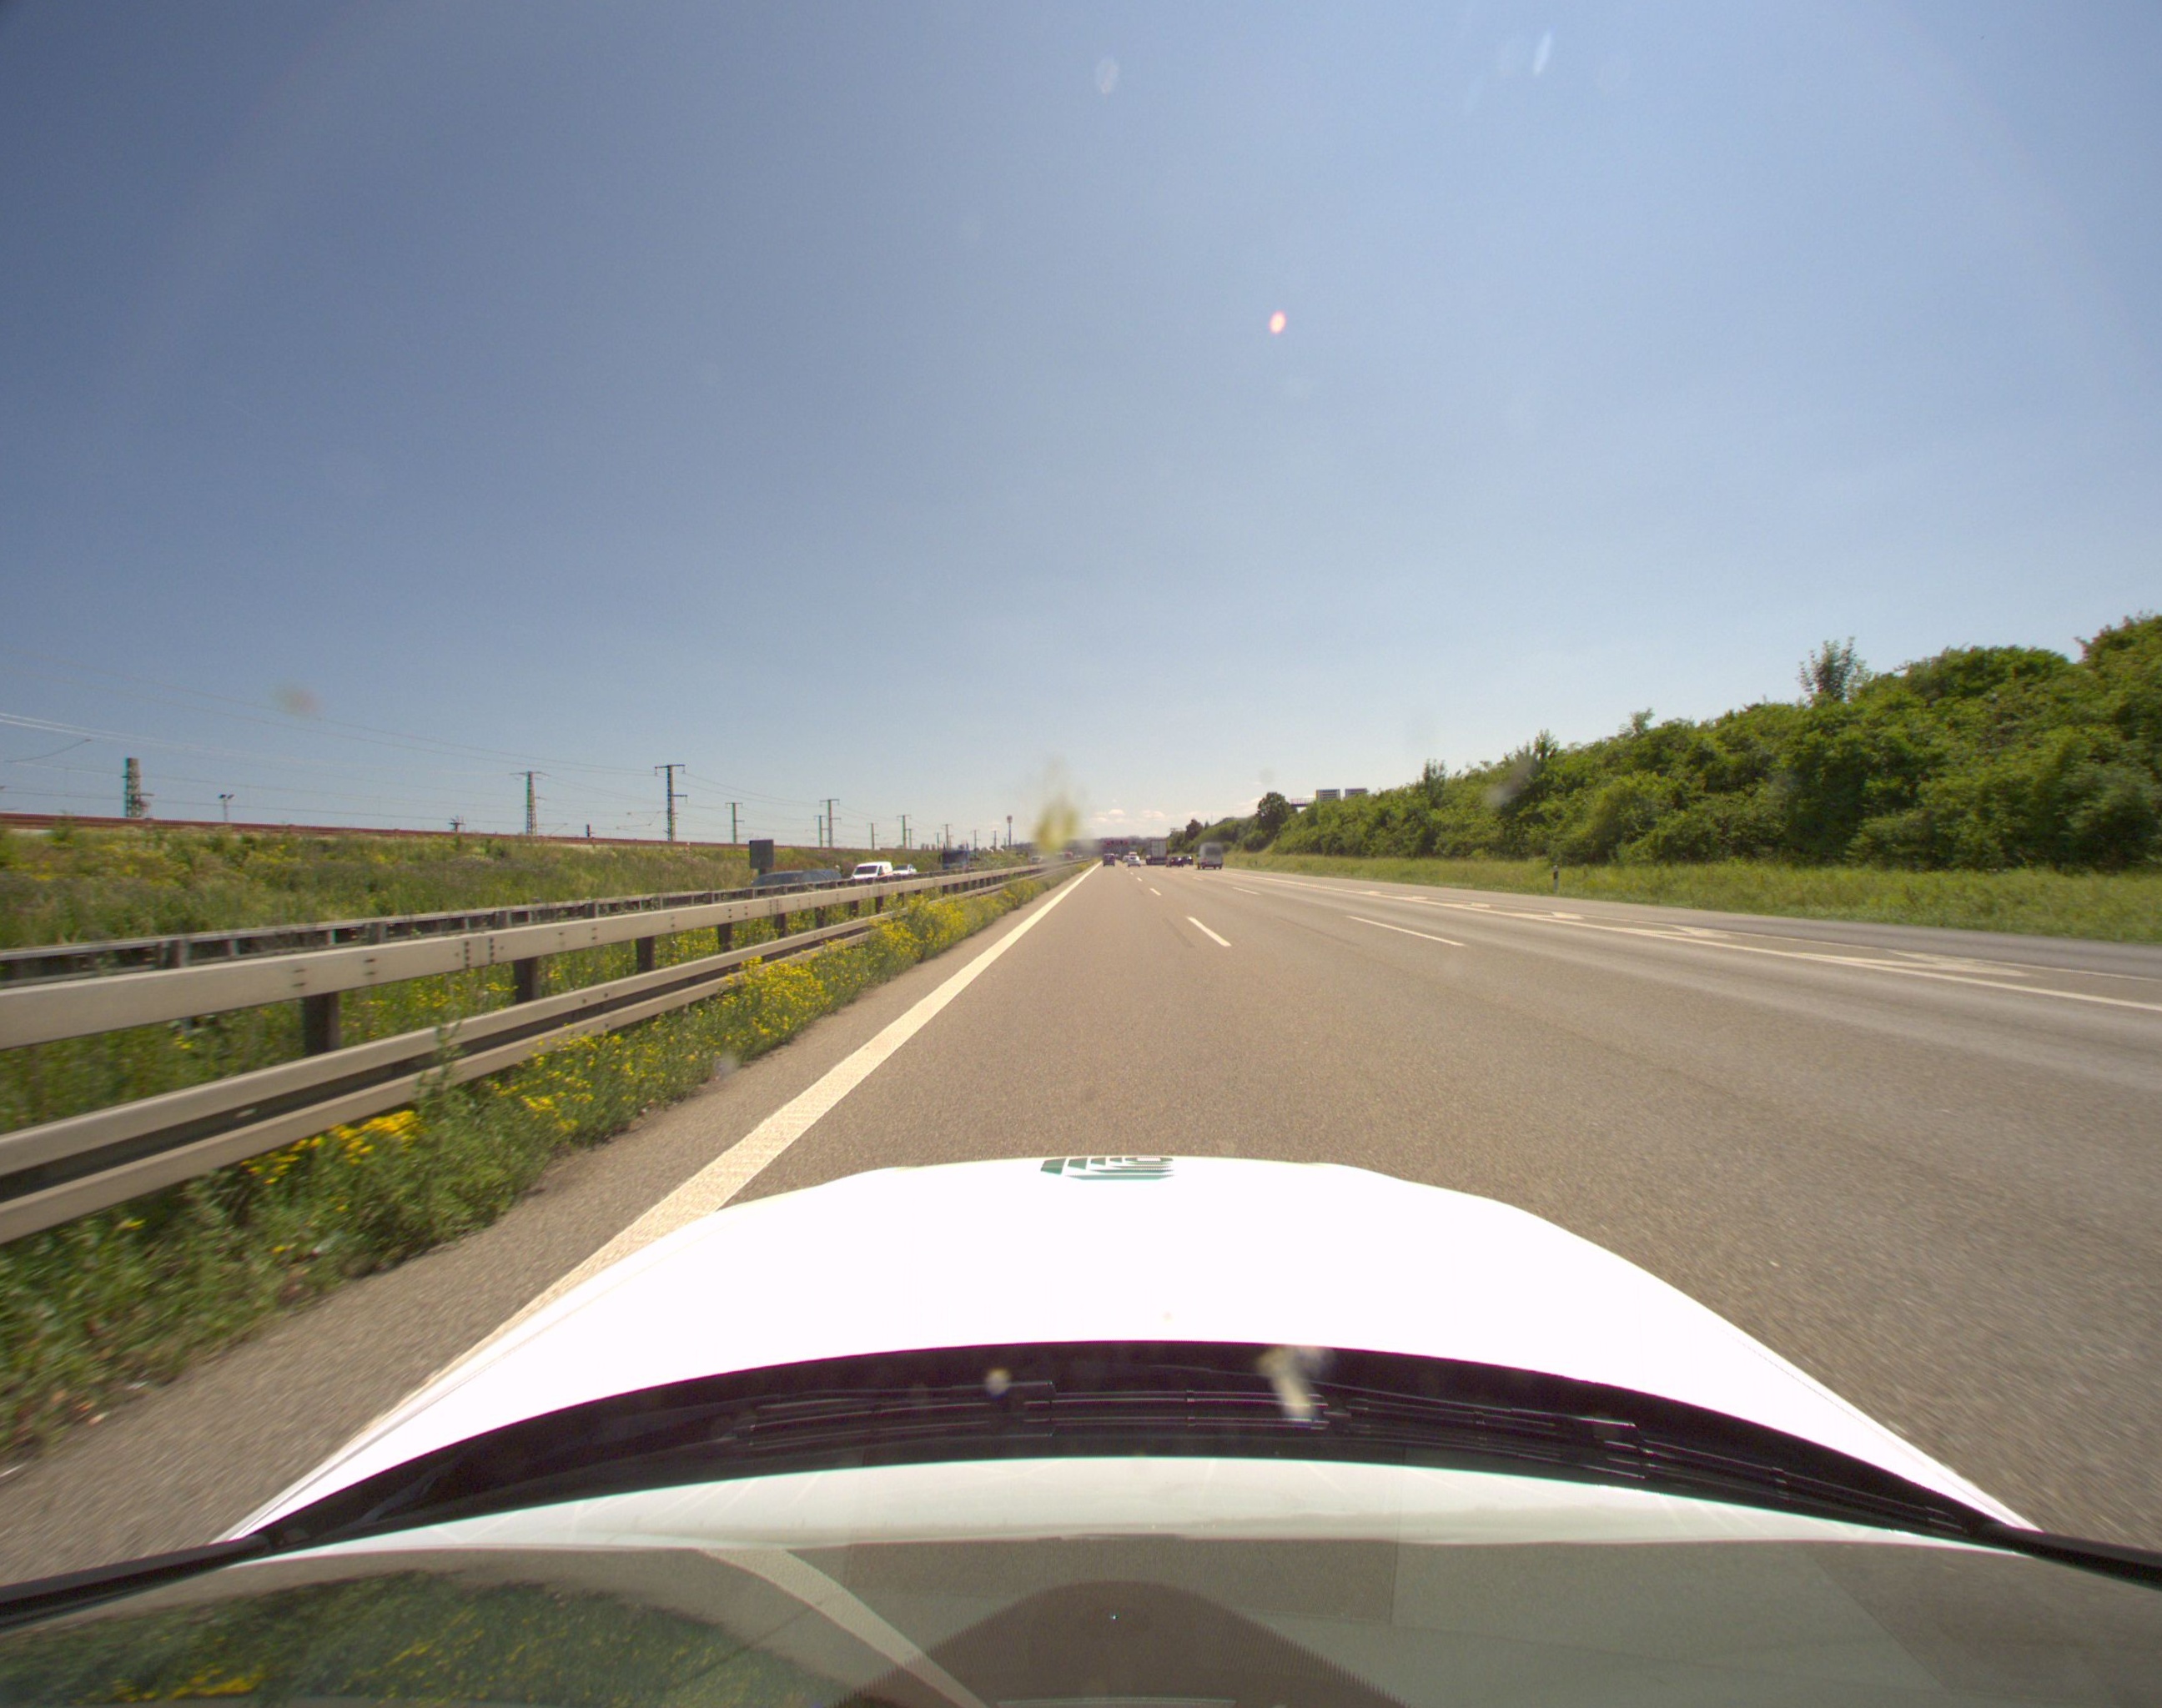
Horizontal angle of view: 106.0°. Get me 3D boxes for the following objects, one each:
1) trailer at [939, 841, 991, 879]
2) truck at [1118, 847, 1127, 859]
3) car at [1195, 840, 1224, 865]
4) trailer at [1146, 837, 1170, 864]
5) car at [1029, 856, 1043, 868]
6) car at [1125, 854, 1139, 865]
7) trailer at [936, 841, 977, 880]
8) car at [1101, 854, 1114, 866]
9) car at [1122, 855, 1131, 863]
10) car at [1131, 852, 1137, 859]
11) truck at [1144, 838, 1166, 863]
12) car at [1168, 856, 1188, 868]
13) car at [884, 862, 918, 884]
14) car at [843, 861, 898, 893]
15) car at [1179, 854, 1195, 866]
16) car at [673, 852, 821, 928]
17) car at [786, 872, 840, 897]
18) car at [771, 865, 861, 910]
[{"bbox_3d":[-12.984,0.652,93.031,3.039,3.868,15.982,-2,0,2],"label":"trailer"},{"bbox_3d":[11.529,-0.261,224.091,2.346,3.416,6.060,-1,0,2],"label":"truck"},{"bbox_3d":[13.665,-0.149,86.787,2.266,2.528,5.400,-1,0,1],"label":"car"},{"bbox_3d":[12.231,-0.546,130.625,3.165,4.059,9.444,-2,0,2],"label":"trailer"},{"bbox_3d":[-7.619,1.309,138.524,1.986,2.013,5.433,-1,0,1],"label":"car"},{"bbox_3d":[7.037,0.806,112.124,1.872,1.526,4.005,-1,-1,5],"label":"car"},{"bbox_3d":[-13.177,0.644,86.744,3.039,3.868,7.205,-2,0,1],"label":"trailer"},{"bbox_3d":[3.971,0.904,122.313,1.873,1.775,4.002,-2,-1,2],"label":"car"},{"bbox_3d":[9.879,1.087,177.751,1.873,1.526,4.003,-1,-1,3],"label":"car"},{"bbox_3d":[16.845,0.433,259.962,1.985,2.013,4.441,-2,0,3],"label":"car"},{"bbox_3d":[12.523,-0.543,138.080,3.165,4.059,9.444,-2,0,2],"label":"truck"},{"bbox_3d":[12.415,1.085,104.353,1.987,1.508,3.998,0,-2,0],"label":"car"},{"bbox_3d":[-17.359,1.850,78.738,1.986,2.014,4.497,-3,-2,2],"label":"car"},{"bbox_3d":[-13.315,1.407,51.851,1.913,1.800,5.199,-3,0,2],"label":"car"},{"bbox_3d":[15.740,0.888,121.063,1.986,1.596,4.001,0,-2,1],"label":"car"},{"bbox_3d":[-8.374,0.837,20.877,1.986,1.720,4.002,-2,0,2],"label":"car"},{"bbox_3d":[-17.975,2.036,54.808,1.913,1.417,4.586,-3,0,2],"label":"car"},{"bbox_3d":[-11.121,1.346,34.634,1.913,1.610,5.397,-3,0,1],"label":"car"}]
